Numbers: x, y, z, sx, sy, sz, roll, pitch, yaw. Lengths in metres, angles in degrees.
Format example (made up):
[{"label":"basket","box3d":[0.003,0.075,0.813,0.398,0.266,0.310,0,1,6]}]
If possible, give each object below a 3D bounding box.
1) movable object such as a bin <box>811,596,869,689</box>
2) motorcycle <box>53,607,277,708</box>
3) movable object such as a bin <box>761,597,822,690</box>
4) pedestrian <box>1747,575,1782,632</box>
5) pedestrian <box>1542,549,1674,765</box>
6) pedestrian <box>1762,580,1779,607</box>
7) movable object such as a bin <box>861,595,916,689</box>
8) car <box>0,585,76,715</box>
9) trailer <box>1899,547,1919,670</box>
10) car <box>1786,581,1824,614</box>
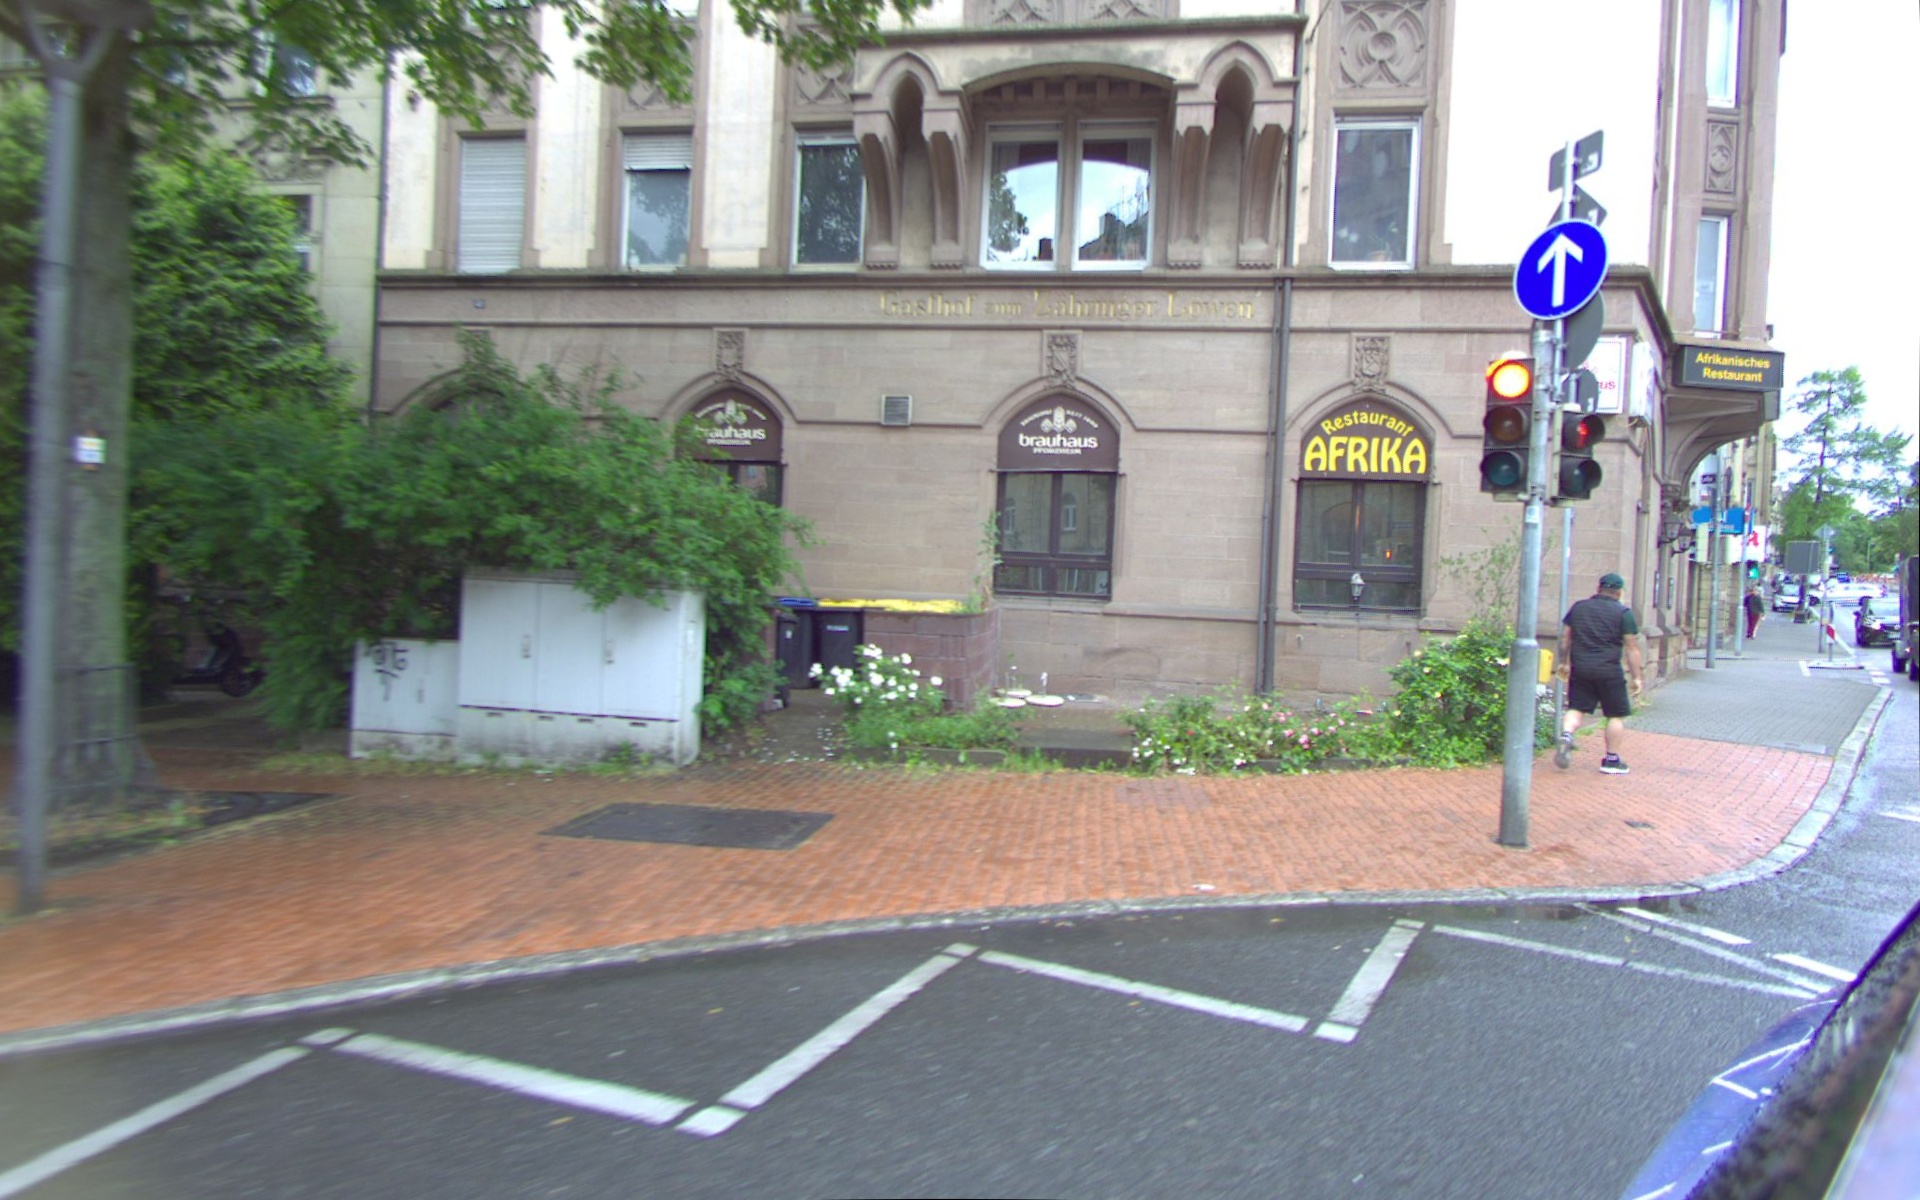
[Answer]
[{"label":"movable object such as a bin","box3d":[-1.424,0.495,12.059,0.565,1.070,0.536,1,0,7]},{"label":"motorcycle","box3d":[-10.006,0.705,12.826,2.153,1.203,0.556,1,0,-19]},{"label":"movable object such as a bin","box3d":[-2.015,0.505,12.129,0.584,1.070,0.531,1,0,7]},{"label":"pedestrian","box3d":[29.414,0.103,37.005,1.072,1.971,0.699,-4,7,-42]},{"label":"pedestrian","box3d":[5.433,0.442,8.539,0.822,1.700,0.886,1,0,26]},{"label":"pedestrian","box3d":[48.397,-0.399,60.427,0.642,1.513,0.681,7,8,39]},{"label":"movable object such as a bin","box3d":[-0.834,0.485,11.952,0.549,1.078,0.541,1,0,7]},{"label":"car","box3d":[-13.114,0.550,11.843,3.769,1.495,1.775,1,0,-20]},{"label":"trailer","box3d":[23.026,0.209,23.204,1.932,2.670,4.615,2,1,41]},{"label":"car","box3d":[48.906,-0.165,58.616,1.521,1.636,3.445,8,7,39]}]
